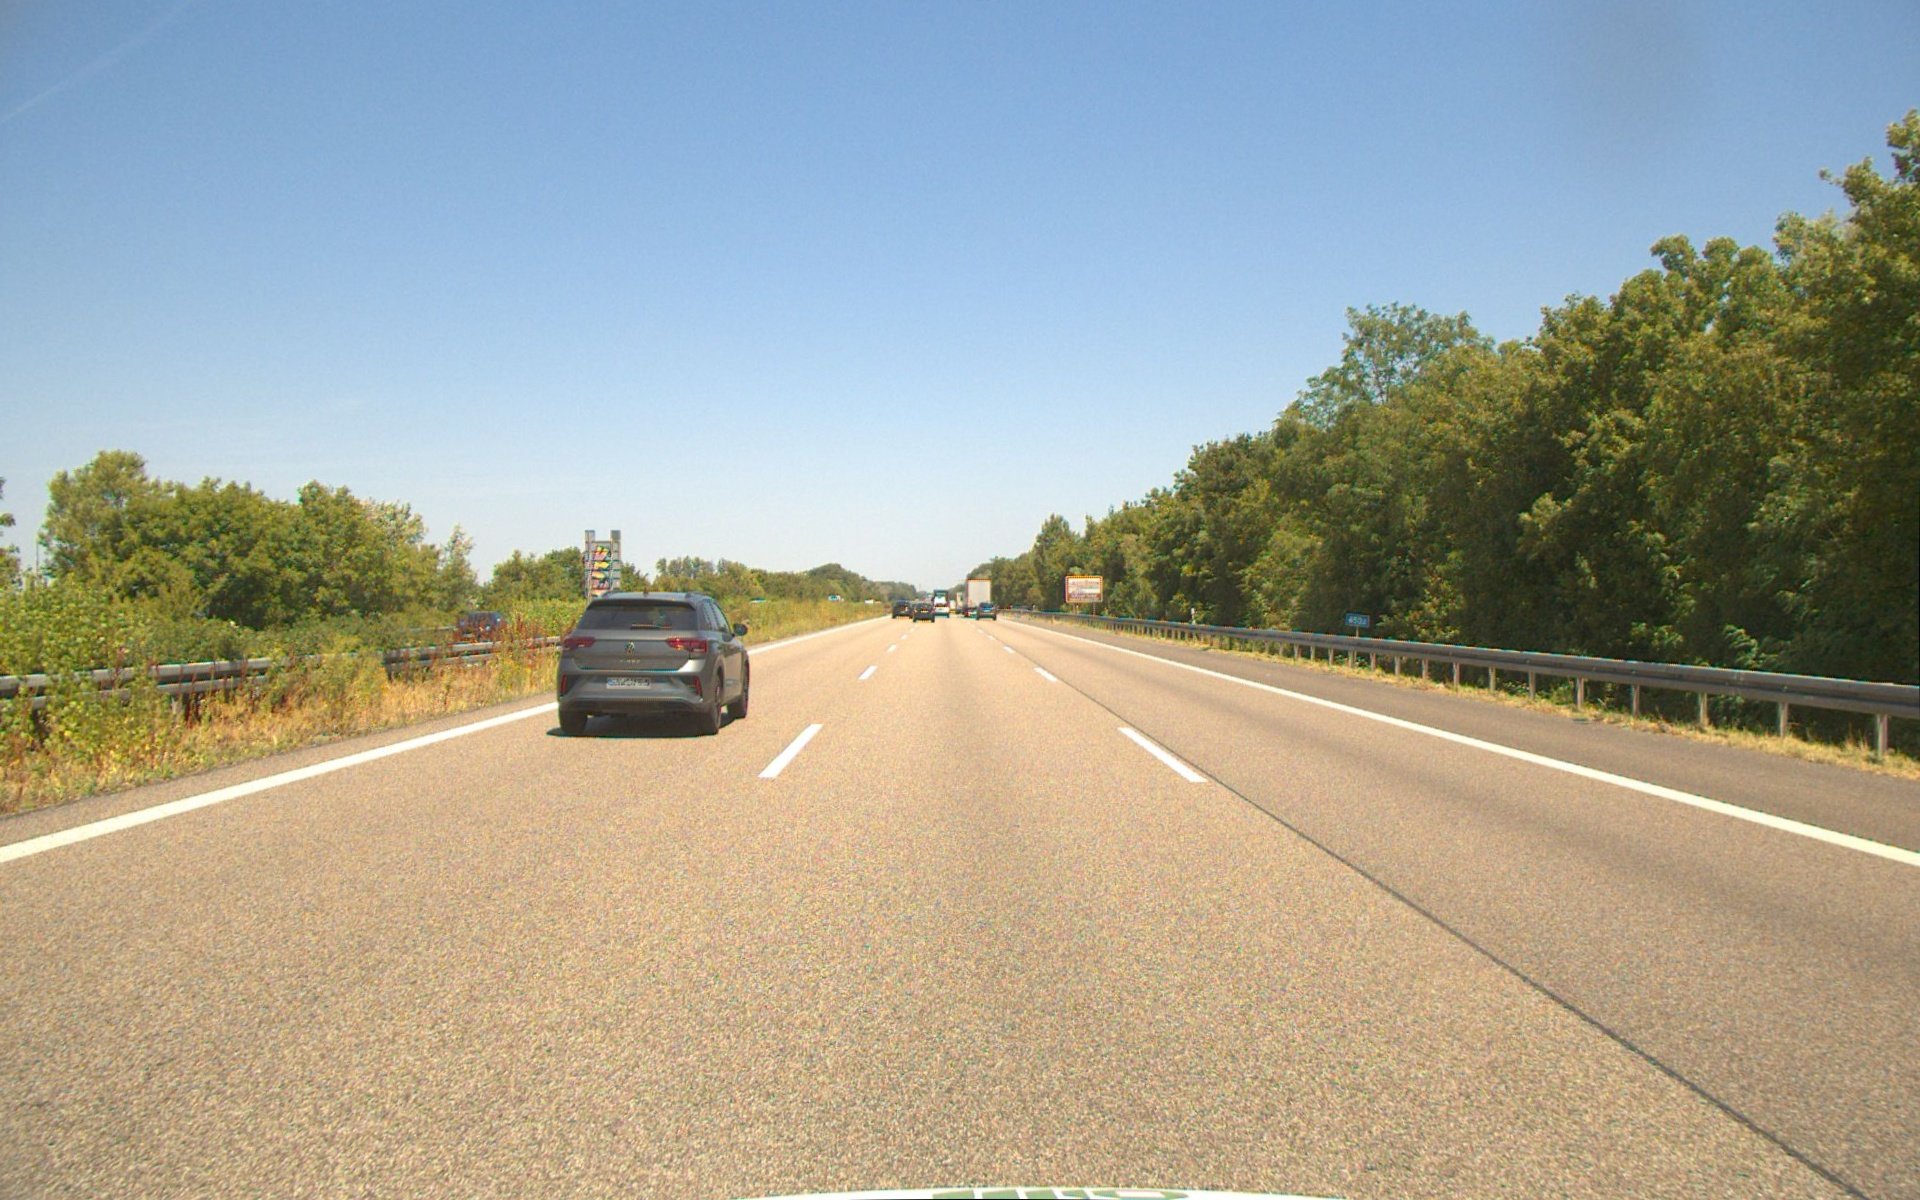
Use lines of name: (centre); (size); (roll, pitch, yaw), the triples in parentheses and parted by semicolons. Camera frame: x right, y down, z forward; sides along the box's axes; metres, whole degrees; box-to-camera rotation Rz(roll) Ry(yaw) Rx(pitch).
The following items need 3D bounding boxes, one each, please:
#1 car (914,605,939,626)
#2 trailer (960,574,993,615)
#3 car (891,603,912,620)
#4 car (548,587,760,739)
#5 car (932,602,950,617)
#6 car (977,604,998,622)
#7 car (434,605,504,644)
car: (-2.565, 1.182, 126.619); (1.862, 1.558, 4.083); (1, 0, -1)
trailer: (1.773, -0.484, 183.192); (3.364, 4.254, 13.629); (1, -1, -1)
car: (-5.479, 1.084, 156.283); (1.869, 1.558, 4.284); (1, 0, -1)
car: (-3.463, 0.655, 19.478); (1.723, 1.558, 4.284); (1, 0, -1)
car: (-2.039, 0.998, 173.980); (1.862, 1.558, 4.083); (1, 0, -1)
car: (2.532, 1.178, 150.615); (1.807, 1.657, 4.134); (0, 0, -1)
car: (-22.470, 1.094, 75.787); (1.926, 1.701, 4.421); (1, 0, -1)
